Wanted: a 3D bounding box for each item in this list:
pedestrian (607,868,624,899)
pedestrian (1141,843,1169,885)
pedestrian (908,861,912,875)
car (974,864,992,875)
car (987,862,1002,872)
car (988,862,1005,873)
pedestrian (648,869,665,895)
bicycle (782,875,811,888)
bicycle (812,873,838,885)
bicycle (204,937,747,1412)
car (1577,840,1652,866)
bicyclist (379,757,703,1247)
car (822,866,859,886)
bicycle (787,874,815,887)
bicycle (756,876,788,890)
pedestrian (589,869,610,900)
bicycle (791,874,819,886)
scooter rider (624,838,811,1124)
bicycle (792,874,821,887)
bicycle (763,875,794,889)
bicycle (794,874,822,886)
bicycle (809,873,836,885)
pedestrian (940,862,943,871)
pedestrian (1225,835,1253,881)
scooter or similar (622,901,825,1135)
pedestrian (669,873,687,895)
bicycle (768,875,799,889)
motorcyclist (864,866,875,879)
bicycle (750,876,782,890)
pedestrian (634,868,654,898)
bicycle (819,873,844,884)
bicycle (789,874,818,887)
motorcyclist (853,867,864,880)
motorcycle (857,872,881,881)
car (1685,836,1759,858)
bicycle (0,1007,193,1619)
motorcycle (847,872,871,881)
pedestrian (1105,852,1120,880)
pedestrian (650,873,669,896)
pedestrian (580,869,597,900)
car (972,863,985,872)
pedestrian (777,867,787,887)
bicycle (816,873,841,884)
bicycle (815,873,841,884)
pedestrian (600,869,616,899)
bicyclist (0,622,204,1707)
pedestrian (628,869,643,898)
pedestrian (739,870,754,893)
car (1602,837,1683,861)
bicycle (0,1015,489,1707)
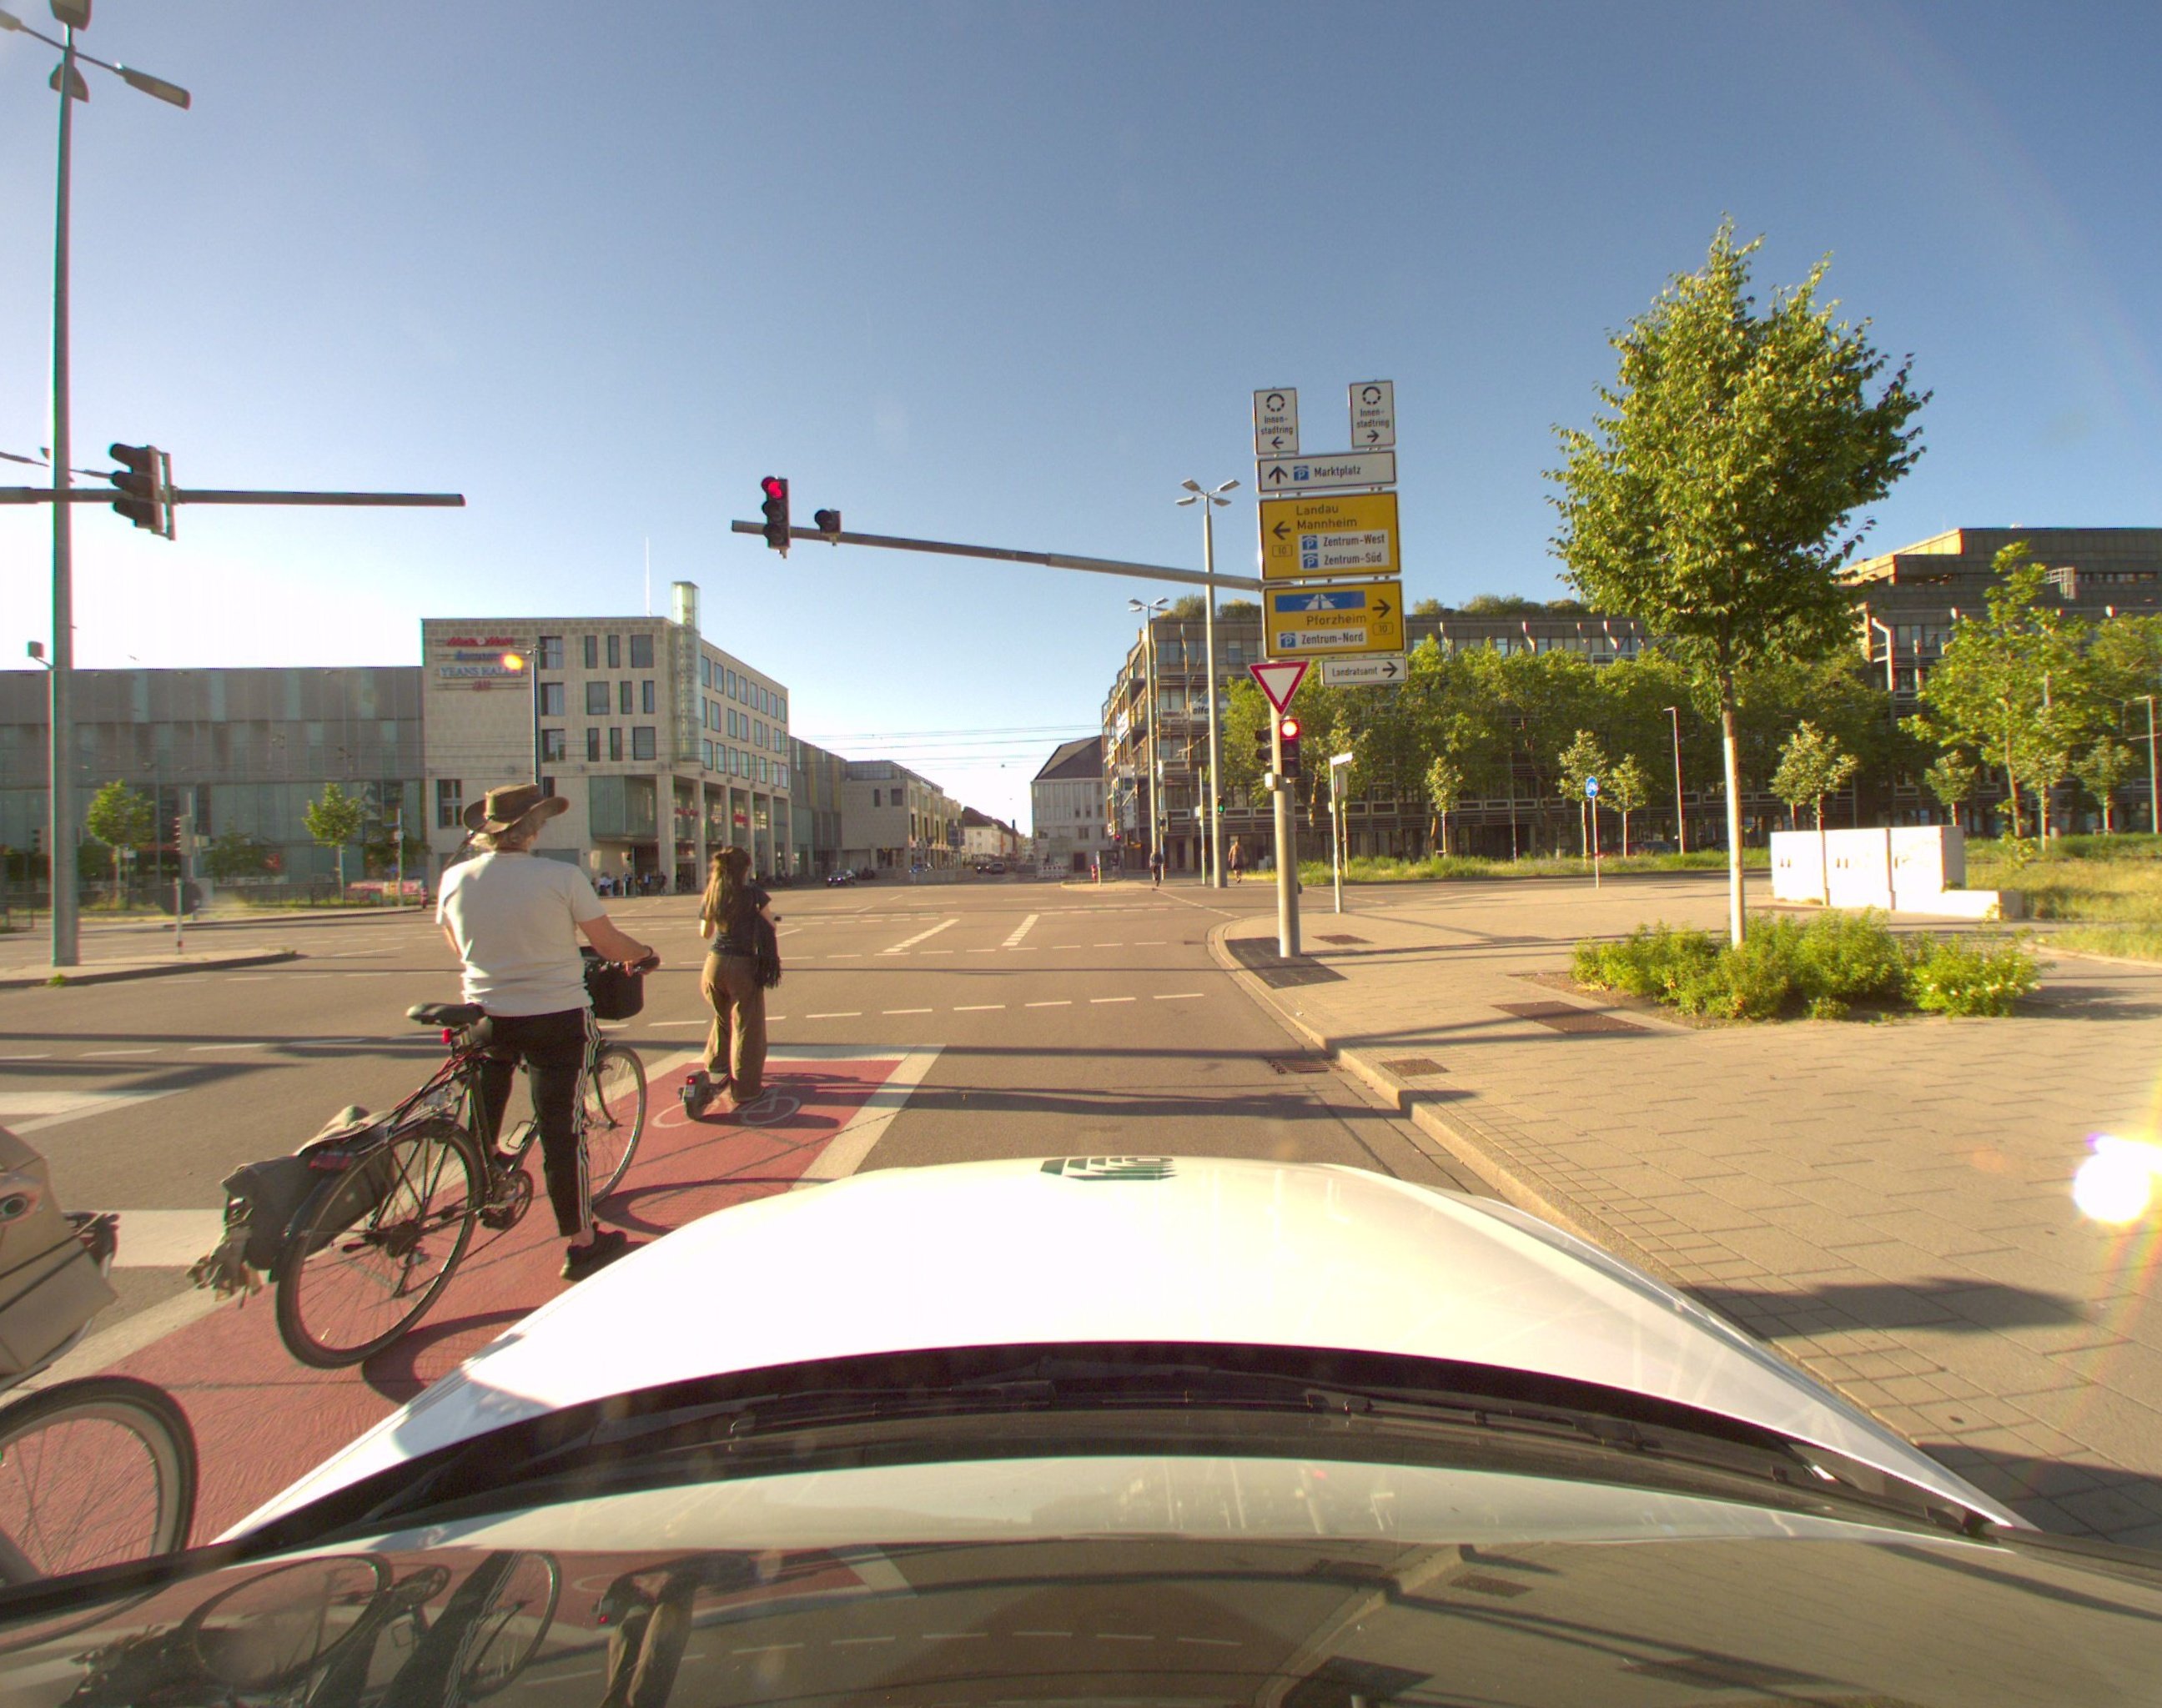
[{"bbox_3d":[-32.559,2.068,56.940,0.902,2.124,0.937,-1,-1,-33],"label":"pedestrian"},{"bbox_3d":[2.826,0.384,31.136,0.894,1.549,0.922,-2,1,-5],"label":"pedestrian"},{"bbox_3d":[-24.624,2.012,117.135,0.616,2.014,0.476,0,-1,-13],"label":"pedestrian"},{"bbox_3d":[-16.340,2.612,136.680,2.166,1.692,5.488,-2,-1,1],"label":"car"},{"bbox_3d":[-17.048,2.565,160.720,2.166,1.692,5.618,-2,-1,2],"label":"car"},{"bbox_3d":[-11.248,1.775,108.725,1.931,1.450,4.259,-2,-1,-2],"label":"car"},{"bbox_3d":[-33.779,2.194,64.792,0.914,2.014,1.020,-2,-1,-10],"label":"pedestrian"},{"bbox_3d":[-26.650,2.529,76.229,2.458,1.111,0.594,-2,0,2],"label":"bicycle"},{"bbox_3d":[-26.902,2.600,85.628,2.458,1.111,0.661,-2,0,2],"label":"bicycle"},{"bbox_3d":[-2.030,0.967,3.133,0.704,1.094,1.800,-2,0,0],"label":"bicycle"},{"bbox_3d":[36.230,-0.063,55.356,3.856,1.486,1.845,-2,-3,-2],"label":"car"},{"bbox_3d":[-2.050,0.510,3.209,0.697,1.669,0.786,-2,0,0],"label":"bicyclist"},{"bbox_3d":[-20.825,1.891,70.690,1.931,1.581,4.293,-2,0,0],"label":"car"},{"bbox_3d":[-26.620,2.540,77.455,2.458,1.111,0.684,-2,0,2],"label":"bicycle"},{"bbox_3d":[-26.819,2.501,70.705,2.458,1.111,0.684,-2,0,2],"label":"bicycle"},{"bbox_3d":[-33.944,2.135,57.388,0.894,2.124,0.945,-2,-1,-7],"label":"pedestrian"},{"bbox_3d":[-27.143,2.563,80.022,2.458,1.111,0.684,-2,0,2],"label":"bicycle"},{"bbox_3d":[-2.165,0.693,4.997,0.640,1.544,1.116,-1,0,-1],"label":"scooter rider"},{"bbox_3d":[-26.652,2.545,79.051,2.458,1.111,0.835,-2,0,2],"label":"bicycle"},{"bbox_3d":[-26.734,2.494,72.070,2.457,1.111,0.685,-2,0,4],"label":"bicycle"},{"bbox_3d":[-27.198,2.573,81.276,2.458,1.111,0.835,-2,0,2],"label":"bicycle"},{"bbox_3d":[-26.916,2.597,84.776,2.458,1.111,0.835,-2,0,2],"label":"bicycle"},{"bbox_3d":[-22.834,2.050,133.401,0.487,1.356,0.563,0,-1,-4],"label":"pedestrian"},{"bbox_3d":[6.176,0.144,31.909,0.854,1.744,0.737,-2,0,-7],"label":"pedestrian"},{"bbox_3d":[-2.178,0.933,5.174,0.640,1.175,1.483,-1,0,-1],"label":"scooter or similar"},{"bbox_3d":[-29.062,2.160,58.706,0.951,1.571,0.831,-1,-1,-41],"label":"pedestrian"},{"bbox_3d":[-26.614,2.491,72.876,2.458,1.111,0.684,-2,0,2],"label":"bicycle"},{"bbox_3d":[-25.608,2.262,98.606,1.135,1.575,0.914,0,-1,-5],"label":"motorcyclist"},{"bbox_3d":[-26.837,2.488,69.359,2.394,1.113,0.658,-2,0,1],"label":"bicycle"},{"bbox_3d":[-31.319,2.061,58.320,1.068,2.129,1.086,-1,-1,-37],"label":"pedestrian"},{"bbox_3d":[-26.960,2.625,88.083,2.458,1.111,0.661,-2,0,2],"label":"bicycle"},{"bbox_3d":[-26.660,2.539,78.232,2.458,1.111,0.684,-2,0,2],"label":"bicycle"},{"bbox_3d":[-26.006,2.264,95.128,1.035,1.471,0.914,0,-1,-5],"label":"motorcyclist"},{"bbox_3d":[-25.629,2.688,98.586,2.664,0.996,0.914,0,-1,-6],"label":"motorcycle"},{"bbox_3d":[47.922,-0.518,60.954,3.976,1.521,1.999,-2,0,-2],"label":"car"},{"bbox_3d":[-2.422,0.926,1.001,0.621,1.116,1.816,-2,0,1],"label":"bicycle"},{"bbox_3d":[-25.922,2.662,95.142,2.664,0.996,0.914,0,-1,-6],"label":"motorcycle"},{"bbox_3d":[2.230,0.845,57.379,1.007,1.911,1.052,-2,0,3],"label":"pedestrian"},{"bbox_3d":[-30.776,2.231,59.494,1.013,1.651,0.937,-1,-1,-40],"label":"pedestrian"},{"bbox_3d":[-35.258,2.173,58.297,0.900,2.124,0.939,-1,-1,-25],"label":"pedestrian"},{"bbox_3d":[-21.829,2.815,173.955,2.168,1.873,5.610,-2,-1,-2],"label":"car"},{"bbox_3d":[-30.086,2.326,81.955,0.949,1.982,1.000,-1,-1,-23],"label":"pedestrian"},{"bbox_3d":[-26.958,2.627,87.077,2.458,1.111,0.631,-2,0,2],"label":"bicycle"},{"bbox_3d":[-26.856,2.612,86.401,2.458,1.111,0.661,-2,0,2],"label":"bicycle"},{"bbox_3d":[-34.101,2.167,58.728,0.900,2.124,0.938,-1,-1,-27],"label":"pedestrian"},{"bbox_3d":[-1.693,0.483,0.822,0.648,1.543,0.847,-2,0,1],"label":"bicyclist"},{"bbox_3d":[-32.467,2.129,59.342,0.920,2.014,1.013,-1,-1,-31],"label":"pedestrian"},{"bbox_3d":[-25.723,2.134,62.653,0.748,1.740,0.756,-2,-1,-1],"label":"pedestrian"},{"bbox_3d":[41.774,-0.391,60.608,4.848,1.680,1.995,-2,1,-7],"label":"car"},{"bbox_3d":[-1.682,0.918,0.928,0.648,1.094,1.800,-2,0,1],"label":"bicycle"}]
